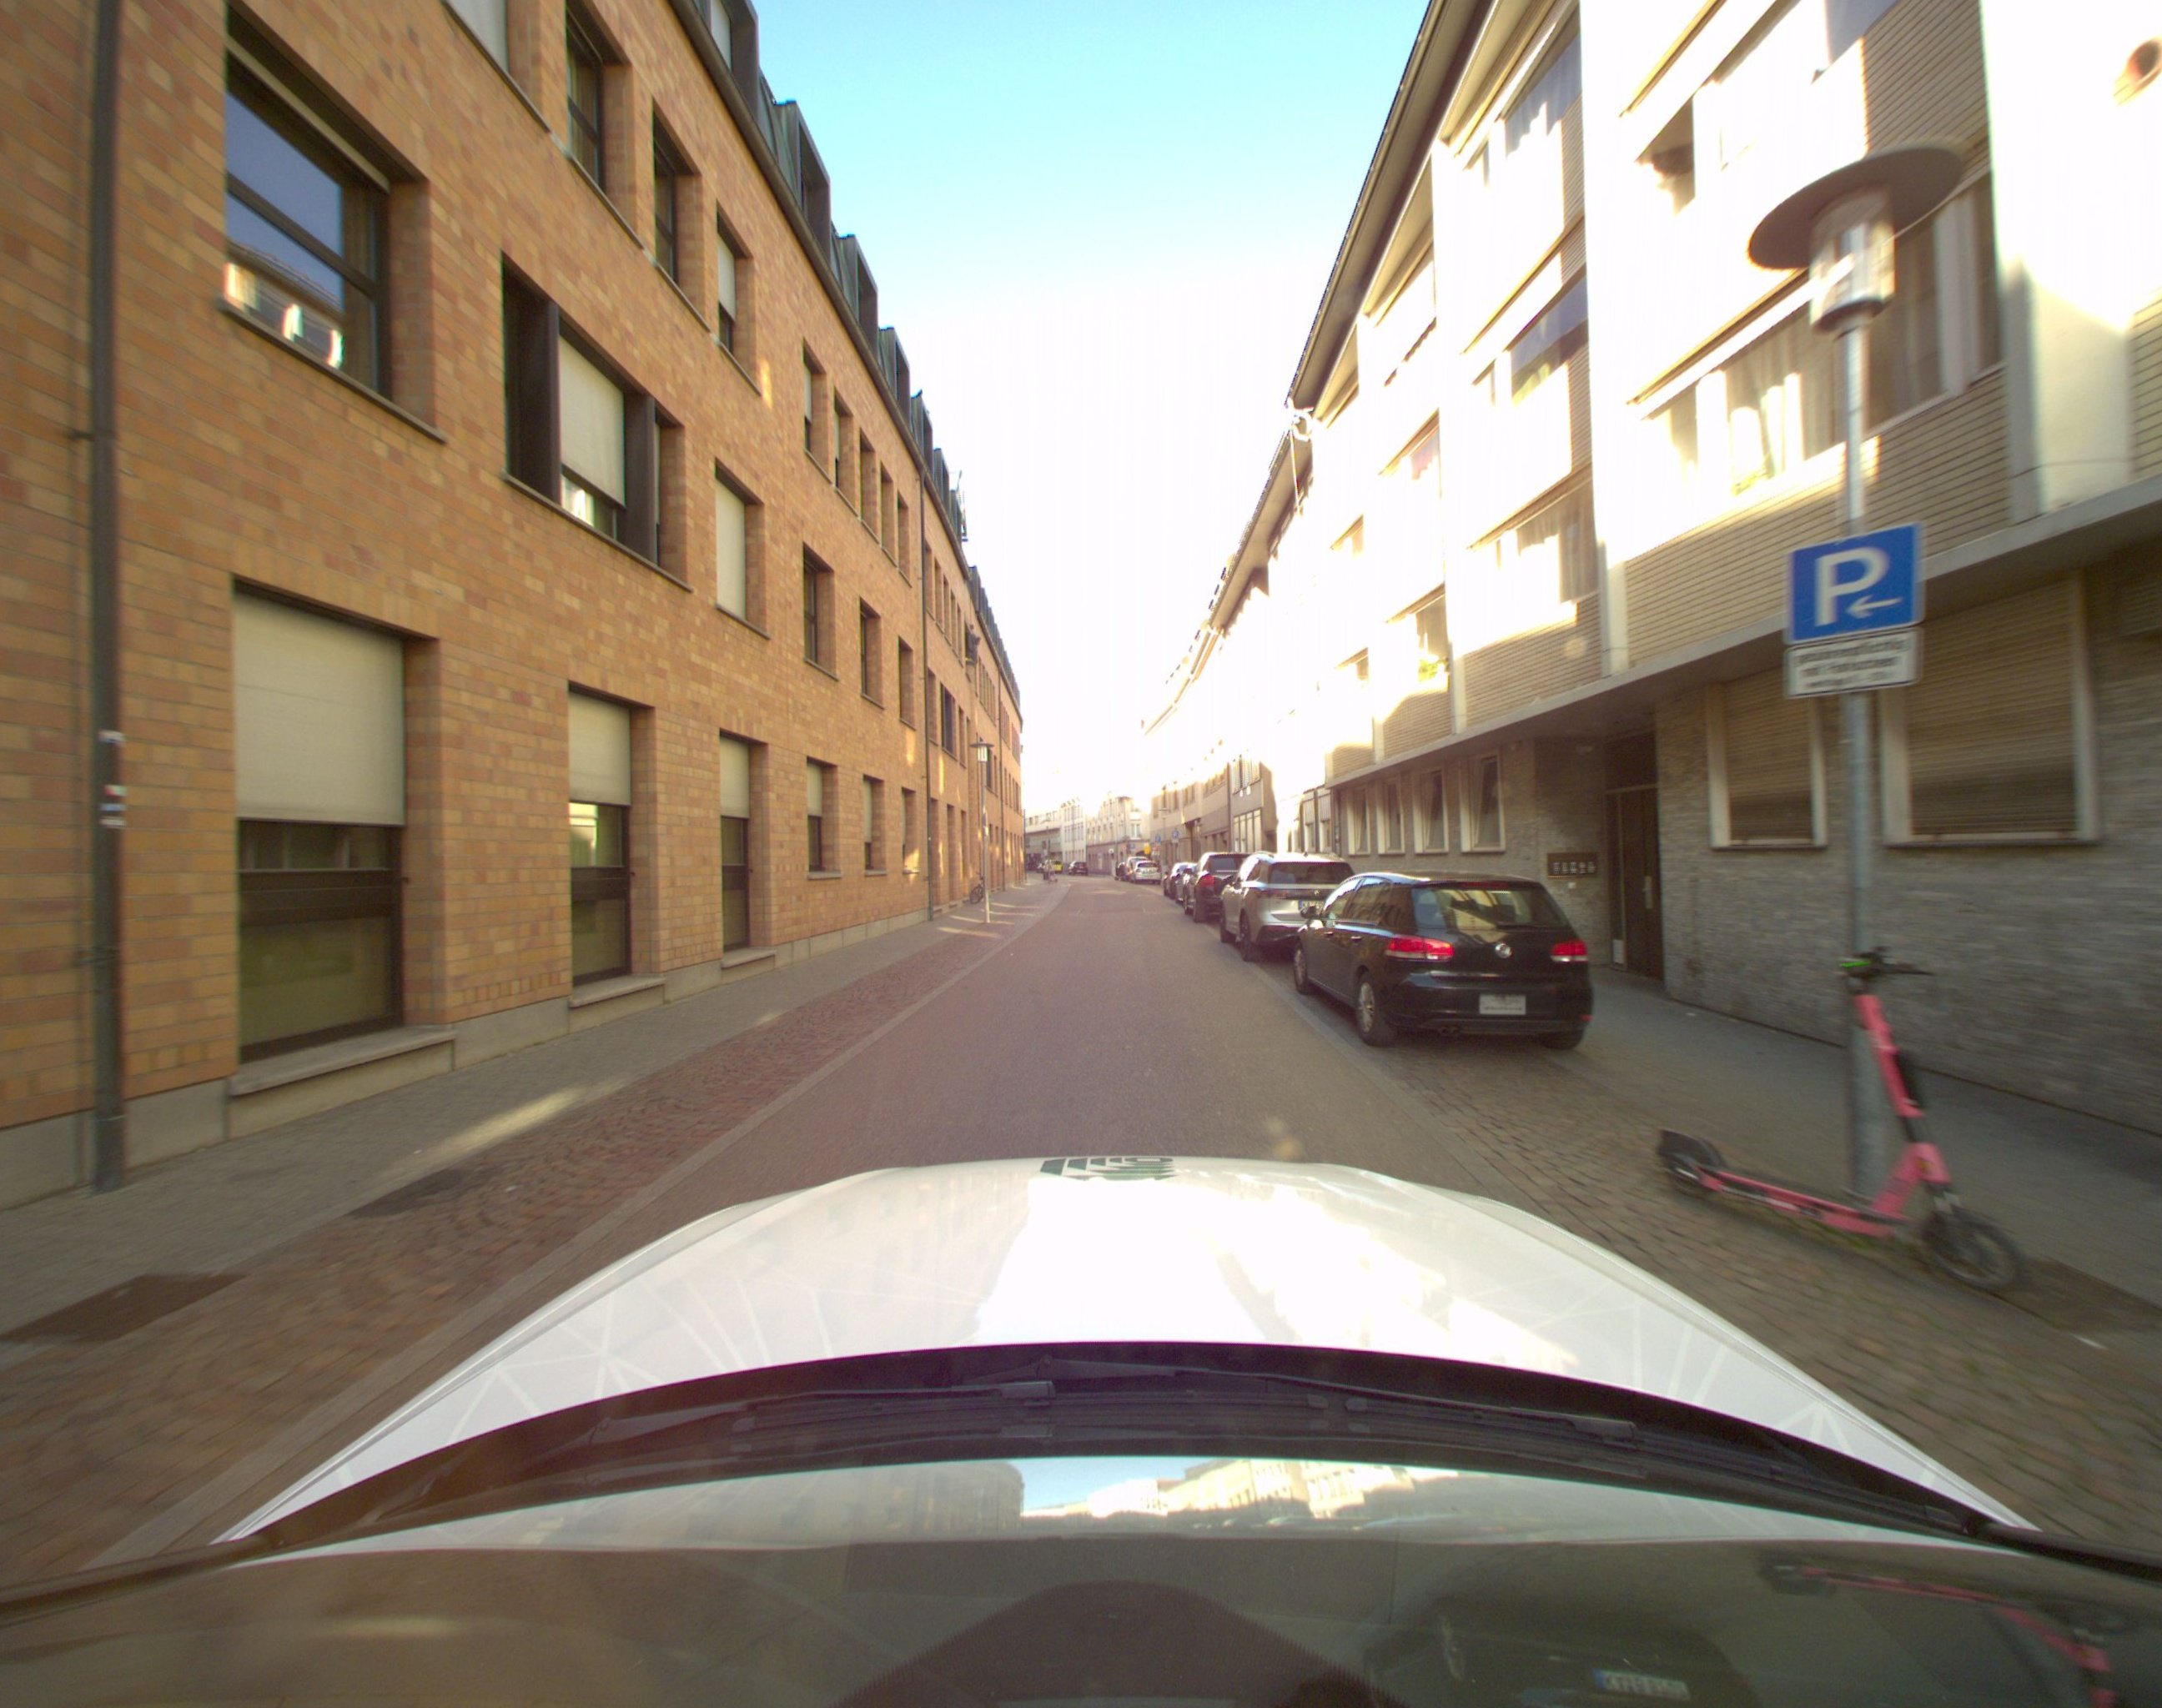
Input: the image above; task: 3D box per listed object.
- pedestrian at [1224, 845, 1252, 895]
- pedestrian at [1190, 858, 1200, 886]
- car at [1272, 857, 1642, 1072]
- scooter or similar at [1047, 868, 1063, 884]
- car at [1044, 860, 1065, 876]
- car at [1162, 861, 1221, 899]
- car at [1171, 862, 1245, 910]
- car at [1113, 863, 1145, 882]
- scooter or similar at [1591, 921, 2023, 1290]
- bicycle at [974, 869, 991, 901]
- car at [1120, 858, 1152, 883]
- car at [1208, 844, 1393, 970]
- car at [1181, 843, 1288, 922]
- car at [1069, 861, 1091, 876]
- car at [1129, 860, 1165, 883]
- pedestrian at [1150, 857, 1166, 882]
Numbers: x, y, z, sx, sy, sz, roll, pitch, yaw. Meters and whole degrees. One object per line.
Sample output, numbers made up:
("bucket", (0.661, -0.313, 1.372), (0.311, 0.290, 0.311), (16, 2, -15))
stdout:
("pedestrian", (5.636, 0.568, 29.293), (0.785, 1.721, 0.747), (-3, -1, 2))
("pedestrian", (6.694, 1.054, 47.659), (0.477, 1.654, 0.540), (-2, -1, 13))
("car", (3.274, 0.810, 8.231), (1.815, 1.505, 4.603), (2, 0, 3))
("scooter or similar", (-2.075, 1.770, 64.579), (0.691, 1.217, 1.365), (-2, -1, 25))
("car", (-3.683, 1.929, 112.608), (2.056, 2.014, 4.154), (-1, -1, -15))
("car", (4.416, 1.004, 33.258), (1.887, 1.453, 5.227), (0, -1, 2))
("car", (4.145, 0.996, 27.225), (1.801, 1.413, 4.791), (1, -1, 1))
("car", (3.877, 1.492, 66.595), (1.886, 1.518, 4.052), (-1, -1, -7))
("scooter or similar", (3.040, 0.938, 3.554), (0.495, 1.194, 1.295), (-1, -1, -25))
("bicycle", (-3.801, 1.186, 31.455), (0.630, 1.162, 1.799), (2, -1, -7))
("car", (4.061, 1.227, 60.661), (1.826, 1.791, 5.208), (0, -1, -2))
("car", (3.401, 0.745, 13.651), (1.985, 1.702, 4.846), (1, -1, 3))
("car", (3.802, 0.665, 21.051), (2.094, 1.786, 5.055), (0, -1, 3))
("car", (-0.191, 1.742, 96.404), (1.968, 1.692, 4.087), (0, -1, -10))
("car", (4.351, 1.147, 54.368), (1.836, 1.478, 4.163), (1, -1, -3))
("pedestrian", (5.692, 1.148, 60.251), (1.039, 1.801, 1.197), (-1, -2, -3))
